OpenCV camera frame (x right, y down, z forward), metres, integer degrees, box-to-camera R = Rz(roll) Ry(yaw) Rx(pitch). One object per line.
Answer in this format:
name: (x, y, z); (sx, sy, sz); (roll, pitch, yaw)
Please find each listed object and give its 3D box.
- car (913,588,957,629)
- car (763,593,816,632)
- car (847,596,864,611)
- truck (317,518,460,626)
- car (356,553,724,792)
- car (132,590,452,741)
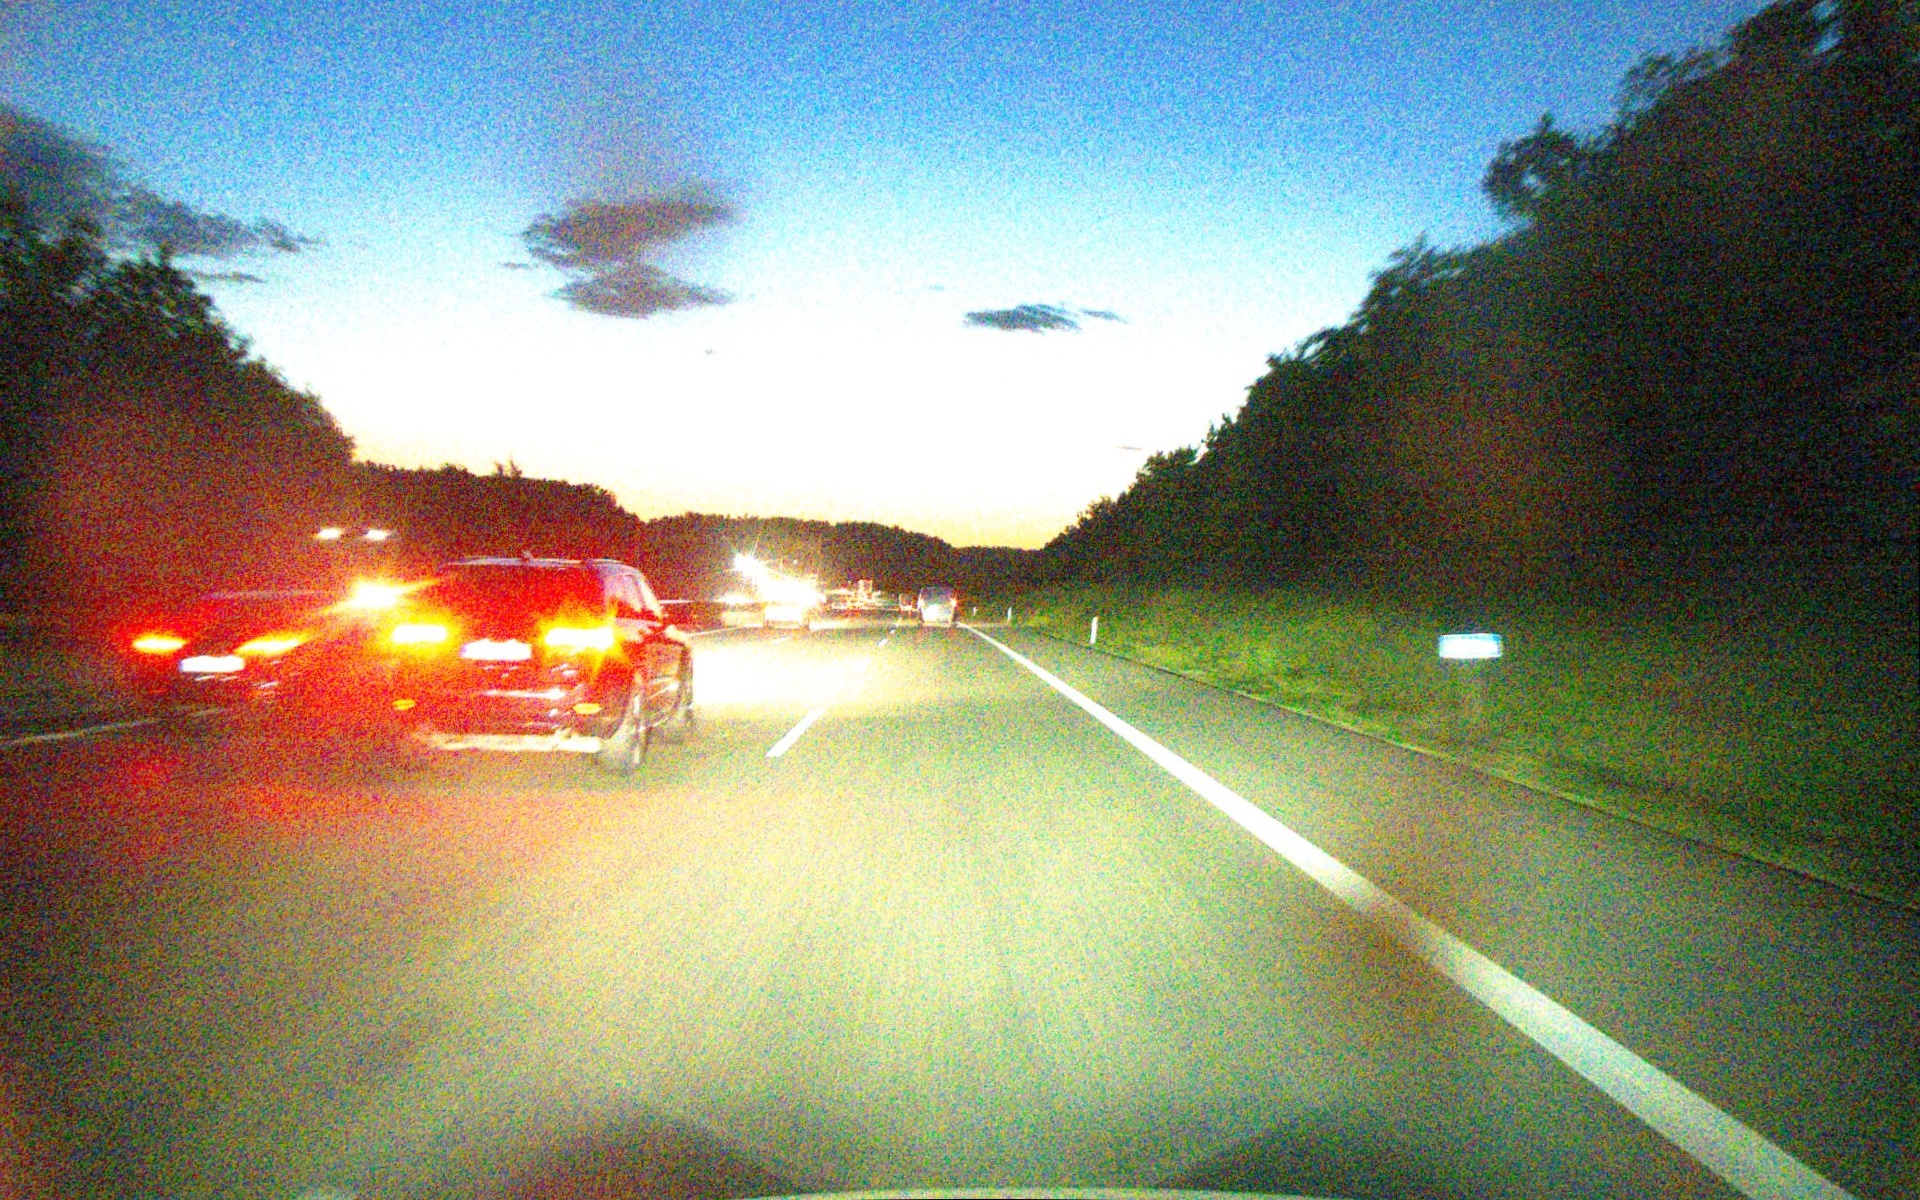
car: (-1.263, 0.407, 83.605); (2.152, 1.989, 4.762); (0, 1, -1)
car: (-7.492, 0.529, 73.086); (1.743, 1.512, 5.253); (4, 1, 0)
car: (-15.212, 0.466, 241.437); (2.152, 1.989, 4.633); (4, 1, 0)
truck: (-22.422, -1.032, 65.491); (2.468, 3.919, 9.064); (1, 0, 0)
car: (-3.510, 0.548, 15.146); (1.953, 1.751, 5.941); (0, 0, -1)
car: (-7.299, 0.648, 18.752); (1.518, 1.456, 5.512); (0, 0, -2)
